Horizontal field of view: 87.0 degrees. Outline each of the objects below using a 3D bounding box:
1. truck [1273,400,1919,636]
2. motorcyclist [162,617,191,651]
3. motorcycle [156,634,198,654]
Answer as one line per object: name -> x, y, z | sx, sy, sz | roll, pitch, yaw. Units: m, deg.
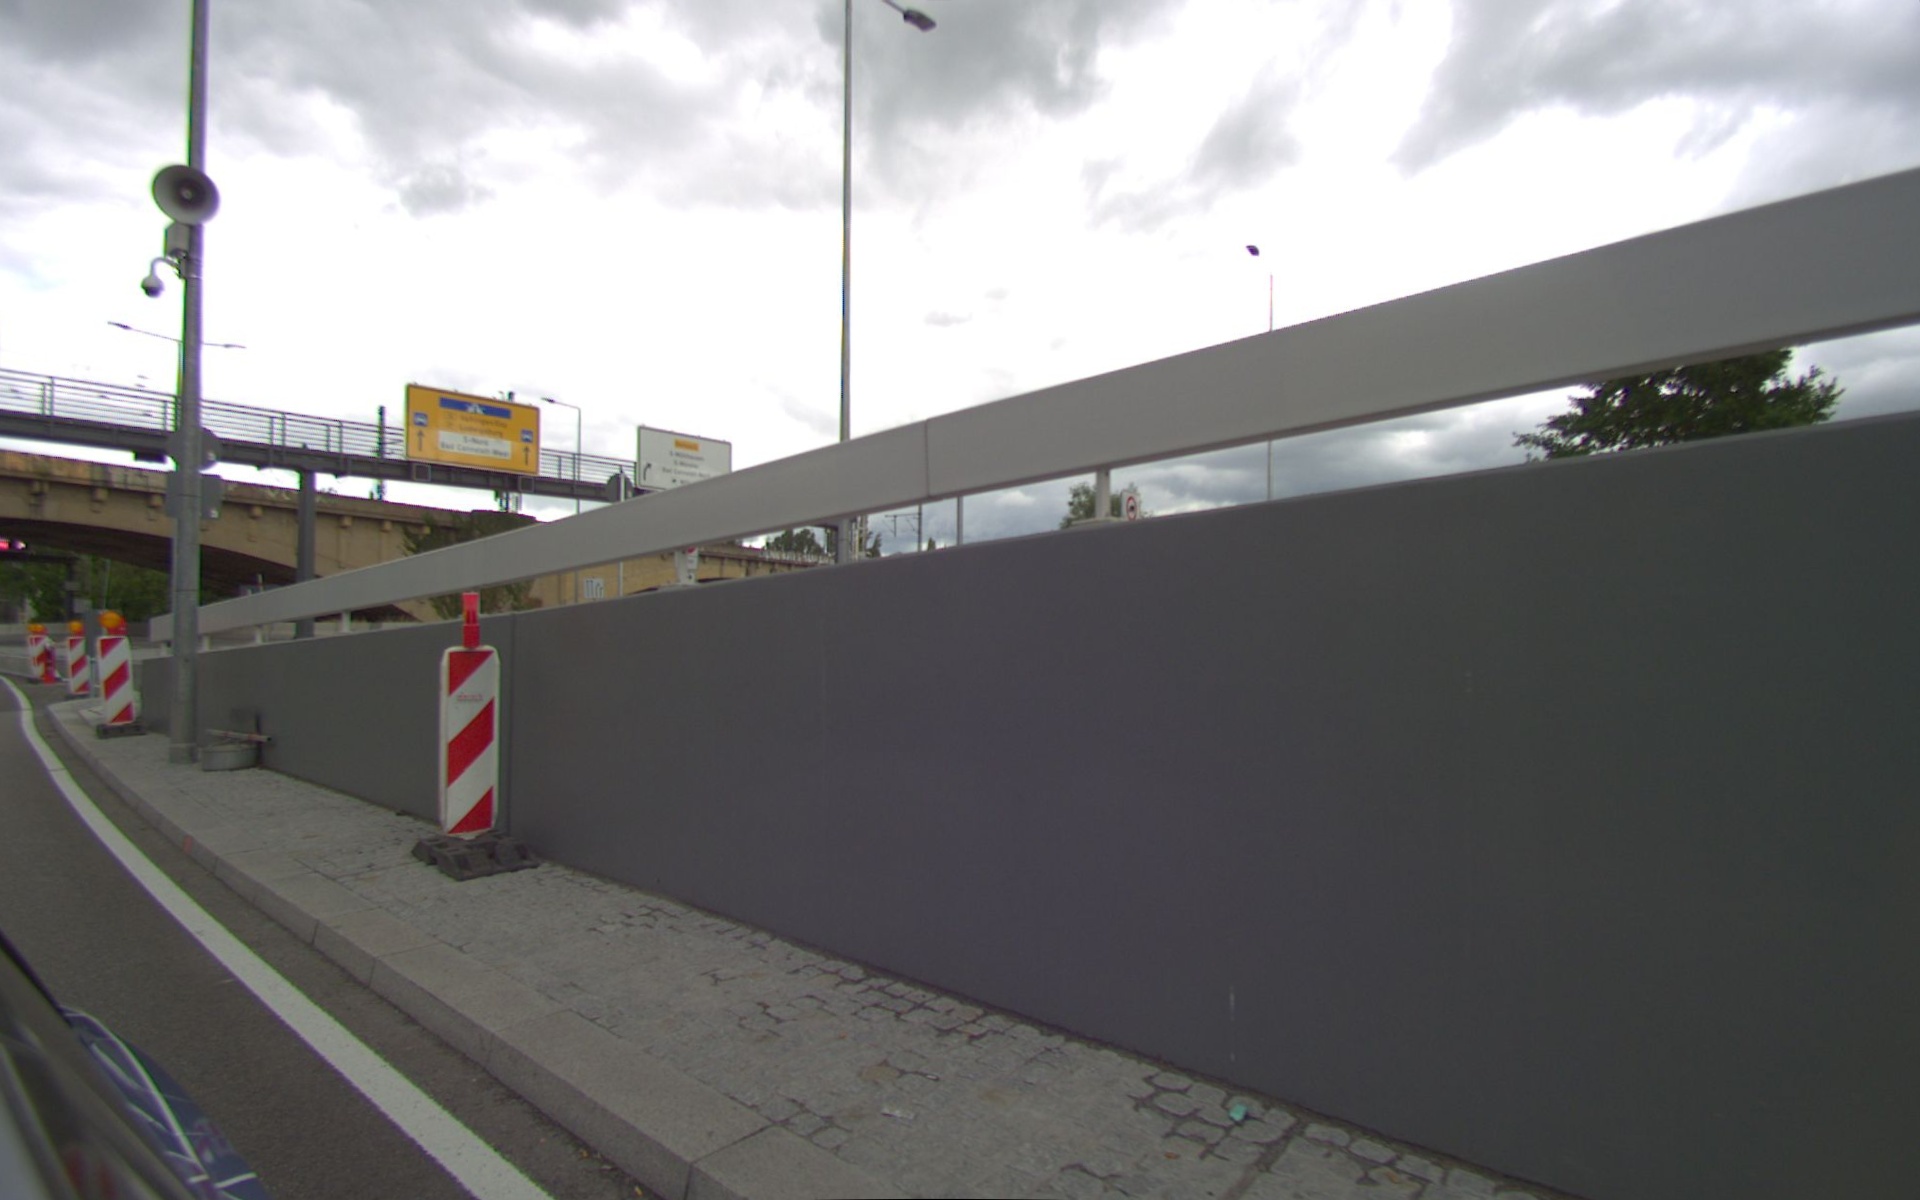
truck -> 12.271, -1.271, 20.969 | 10.602, 3.416, 2.707 | -5, -2, 38
motorcyclist -> -38.283, 1.641, 49.447 | 1.097, 1.618, 0.661 | -2, -1, 27
motorcycle -> -38.271, 2.158, 49.439 | 2.382, 0.924, 0.661 | -2, -1, 27
